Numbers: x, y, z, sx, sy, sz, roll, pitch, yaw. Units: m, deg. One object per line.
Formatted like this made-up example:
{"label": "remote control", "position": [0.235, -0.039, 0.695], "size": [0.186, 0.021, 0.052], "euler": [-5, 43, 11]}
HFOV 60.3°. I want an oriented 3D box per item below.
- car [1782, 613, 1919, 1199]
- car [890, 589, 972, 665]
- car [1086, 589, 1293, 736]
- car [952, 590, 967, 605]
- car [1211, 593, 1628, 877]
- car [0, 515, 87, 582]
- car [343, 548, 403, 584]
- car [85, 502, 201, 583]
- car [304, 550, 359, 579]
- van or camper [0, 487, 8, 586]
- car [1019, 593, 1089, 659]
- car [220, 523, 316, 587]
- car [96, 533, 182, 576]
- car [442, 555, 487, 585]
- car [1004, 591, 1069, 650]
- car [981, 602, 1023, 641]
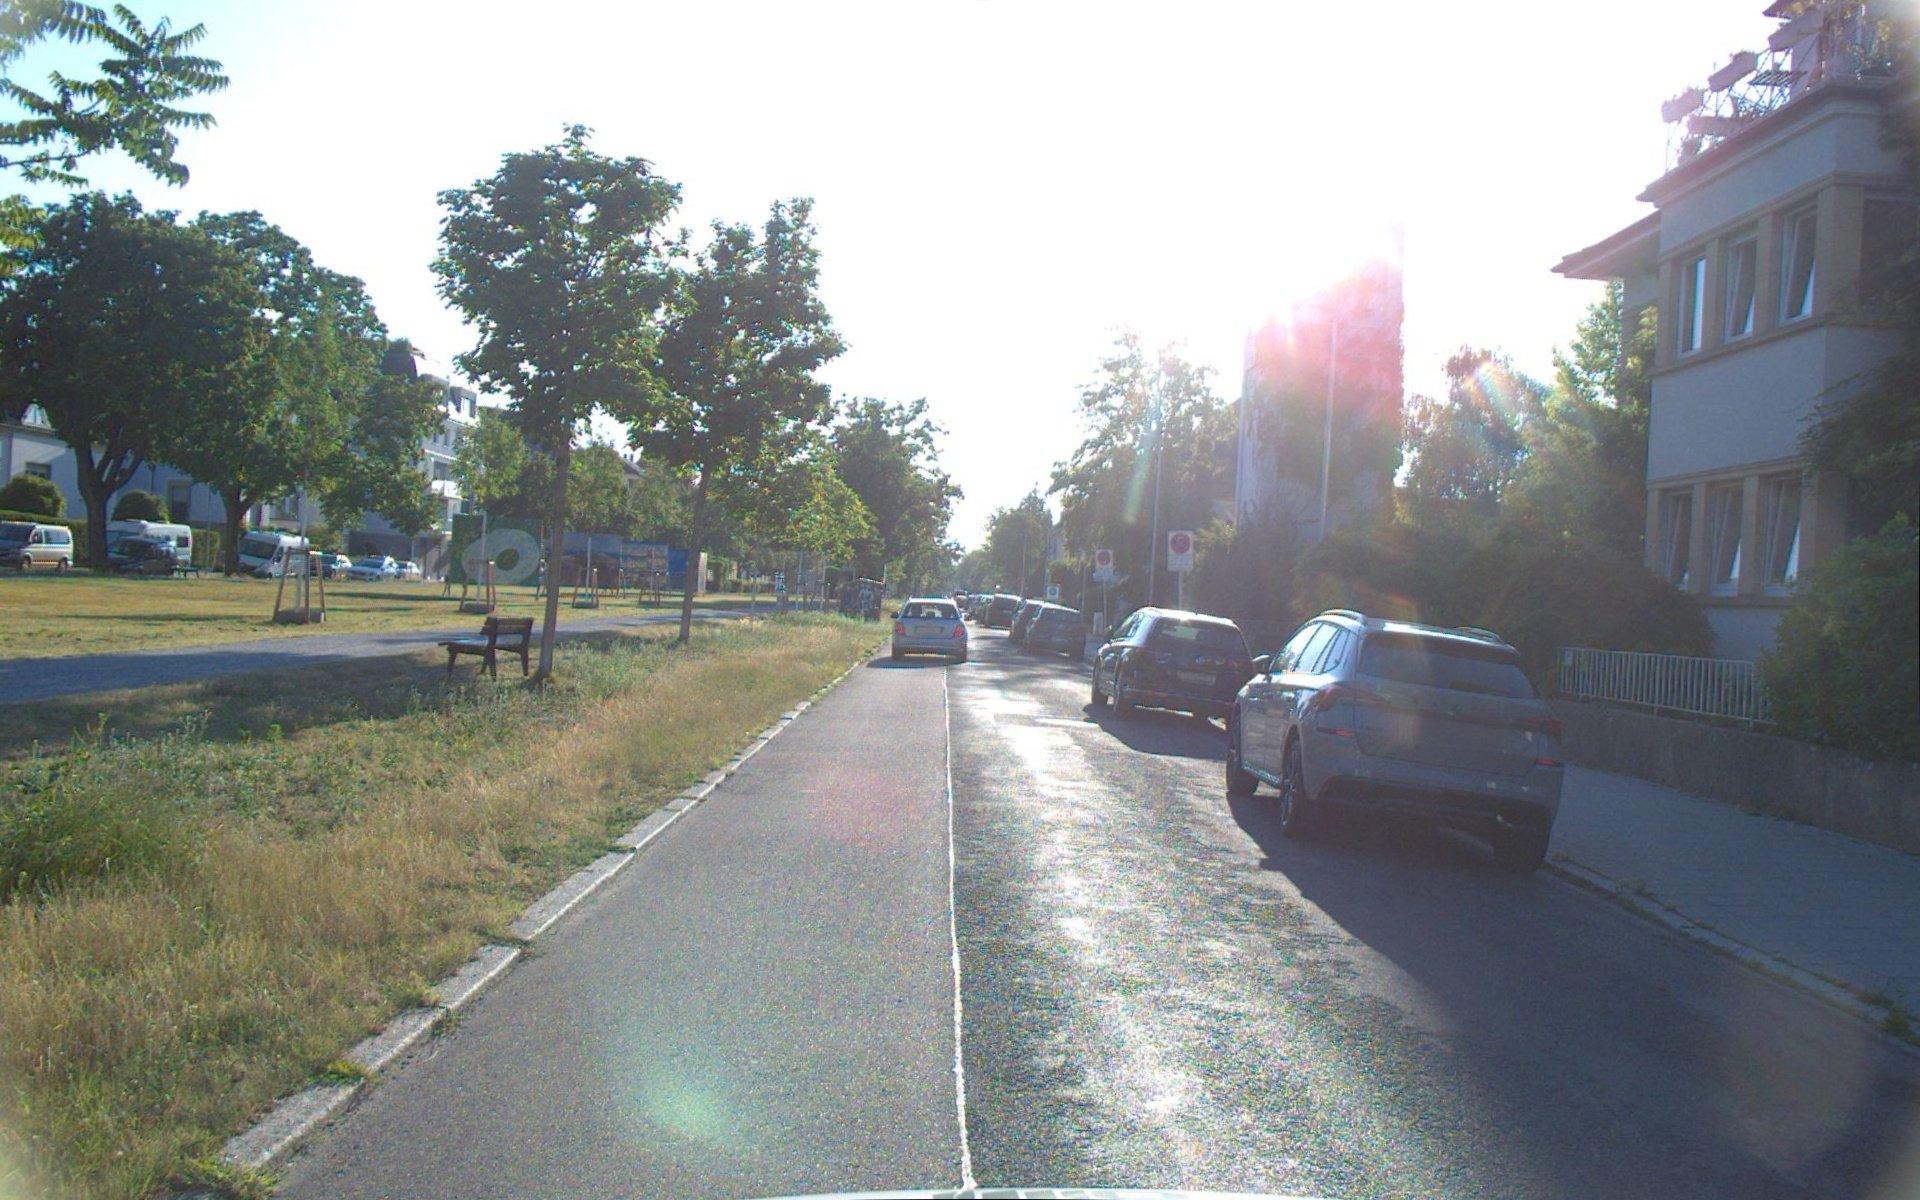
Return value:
{"label": "car", "position": [3.190, 1.006, 2.073], "size": [1.873, 1.585, 4.567], "euler": [7, 2, 0]}
{"label": "car", "position": [-0.644, 0.592, 38.683], "size": [1.786, 1.593, 4.000], "euler": [2, 1, 0]}
{"label": "car", "position": [3.080, 0.789, 23.266], "size": [1.954, 1.624, 4.884], "euler": [7, 0, -2]}
{"label": "car", "position": [-0.066, -0.434, 240.567], "size": [1.948, 2.058, 4.000], "euler": [3, 0, 0]}
{"label": "car", "position": [3.180, 0.848, 12.456], "size": [1.845, 1.563, 4.462], "euler": [6, 0, 1]}
{"label": "car", "position": [-39.471, -2.139, 70.277], "size": [2.093, 2.650, 5.323], "euler": [-1, 0, -2]}
{"label": "car", "position": [-34.234, -1.948, 96.643], "size": [1.796, 1.932, 4.642], "euler": [-1, 0, 0]}
{"label": "car", "position": [-39.420, -2.687, 80.044], "size": [2.256, 3.621, 6.764], "euler": [-1, 0, 0]}
{"label": "car", "position": [-39.904, -2.233, 105.073], "size": [1.745, 1.732, 4.666], "euler": [-1, 0, -1]}
{"label": "van or camper", "position": [-33.441, -2.131, 52.271], "size": [2.588, 3.319, 6.905], "euler": [3, 1, 0]}
{"label": "car", "position": [2.737, 0.725, 48.741], "size": [1.654, 1.553, 4.175], "euler": [7, 1, 0]}
{"label": "car", "position": [-33.791, -2.148, 81.015], "size": [2.214, 2.875, 5.870], "euler": [-1, 0, 0]}
{"label": "car", "position": [-33.418, -1.834, 67.439], "size": [1.385, 1.591, 4.309], "euler": [3, 1, -2]}
{"label": "car", "position": [-34.385, -2.041, 114.814], "size": [1.851, 1.950, 4.327], "euler": [-1, 0, -1]}
{"label": "car", "position": [2.525, 0.646, 55.721], "size": [1.787, 1.587, 4.622], "euler": [9, 1, 0]}
{"label": "car", "position": [2.113, 1.044, 84.119], "size": [1.796, 1.761, 5.031], "euler": [5, 0, -1]}
